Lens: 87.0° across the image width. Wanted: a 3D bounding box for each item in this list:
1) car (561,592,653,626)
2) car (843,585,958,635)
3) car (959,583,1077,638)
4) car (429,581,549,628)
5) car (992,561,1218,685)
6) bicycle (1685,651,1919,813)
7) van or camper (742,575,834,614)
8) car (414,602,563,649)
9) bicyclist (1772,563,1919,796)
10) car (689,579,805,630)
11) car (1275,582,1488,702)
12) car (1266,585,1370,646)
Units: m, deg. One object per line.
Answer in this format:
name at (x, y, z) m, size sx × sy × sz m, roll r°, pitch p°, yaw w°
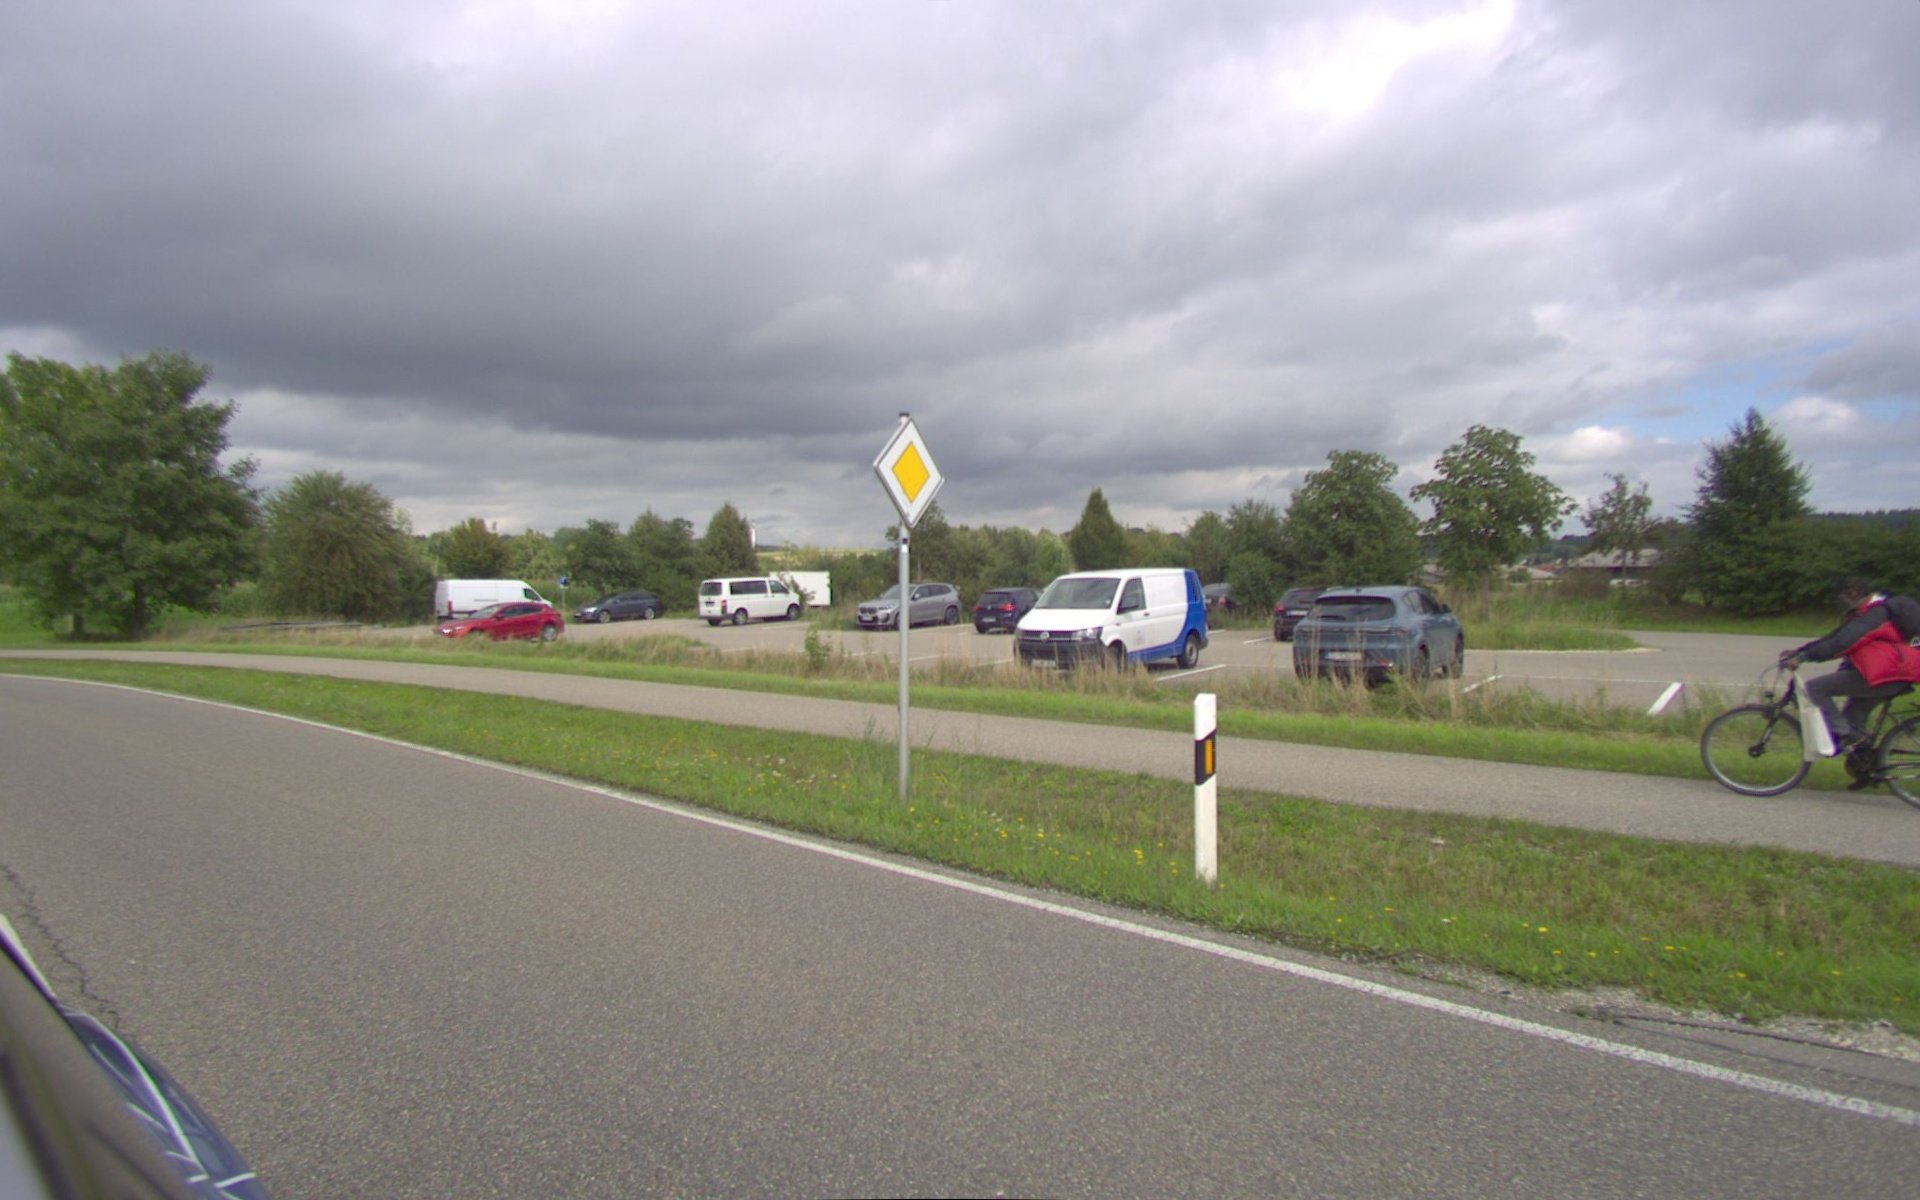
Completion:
car at (-17.326, 0.415, 49.833) m, size 1.791 × 1.536 × 3.950 m, roll -1°, pitch 1°, yaw 37°
car at (-2.092, 0.331, 36.645) m, size 1.964 × 1.563 × 3.948 m, roll -1°, pitch 2°, yaw 39°
car at (1.971, 0.306, 33.615) m, size 1.964 × 1.563 × 3.948 m, roll -1°, pitch 2°, yaw 39°
car at (-28.573, 0.206, 61.569) m, size 2.199 × 2.639 × 6.253 m, roll -1°, pitch 1°, yaw 39°
car at (2.864, 0.330, 18.987) m, size 2.054 × 2.029 × 4.847 m, roll -1°, pitch 1°, yaw 38°
bicycle at (6.629, 0.938, 7.326) m, size 2.190 × 1.040 × 0.629 m, roll -1°, pitch 1°, yaw 42°
van or camper at (-11.528, -0.414, 68.159) m, size 2.285 × 2.364 × 5.967 m, roll 0°, pitch 2°, yaw 41°
car at (-16.298, 0.836, 35.152) m, size 1.812 × 1.427 × 4.321 m, roll -1°, pitch 1°, yaw 39°
bicyclist at (6.592, 0.531, 7.310) m, size 1.055 × 1.577 × 0.821 m, roll -1°, pitch 1°, yaw 43°
car at (-9.082, 0.160, 43.504) m, size 2.058 × 1.940 × 4.638 m, roll -1°, pitch 2°, yaw 38°
car at (6.825, 0.552, 16.134) m, size 1.998 × 1.607 × 4.206 m, roll -1°, pitch 1°, yaw 39°
car at (9.767, 0.382, 27.423) m, size 1.836 × 1.397 × 3.957 m, roll -1°, pitch 2°, yaw 32°
